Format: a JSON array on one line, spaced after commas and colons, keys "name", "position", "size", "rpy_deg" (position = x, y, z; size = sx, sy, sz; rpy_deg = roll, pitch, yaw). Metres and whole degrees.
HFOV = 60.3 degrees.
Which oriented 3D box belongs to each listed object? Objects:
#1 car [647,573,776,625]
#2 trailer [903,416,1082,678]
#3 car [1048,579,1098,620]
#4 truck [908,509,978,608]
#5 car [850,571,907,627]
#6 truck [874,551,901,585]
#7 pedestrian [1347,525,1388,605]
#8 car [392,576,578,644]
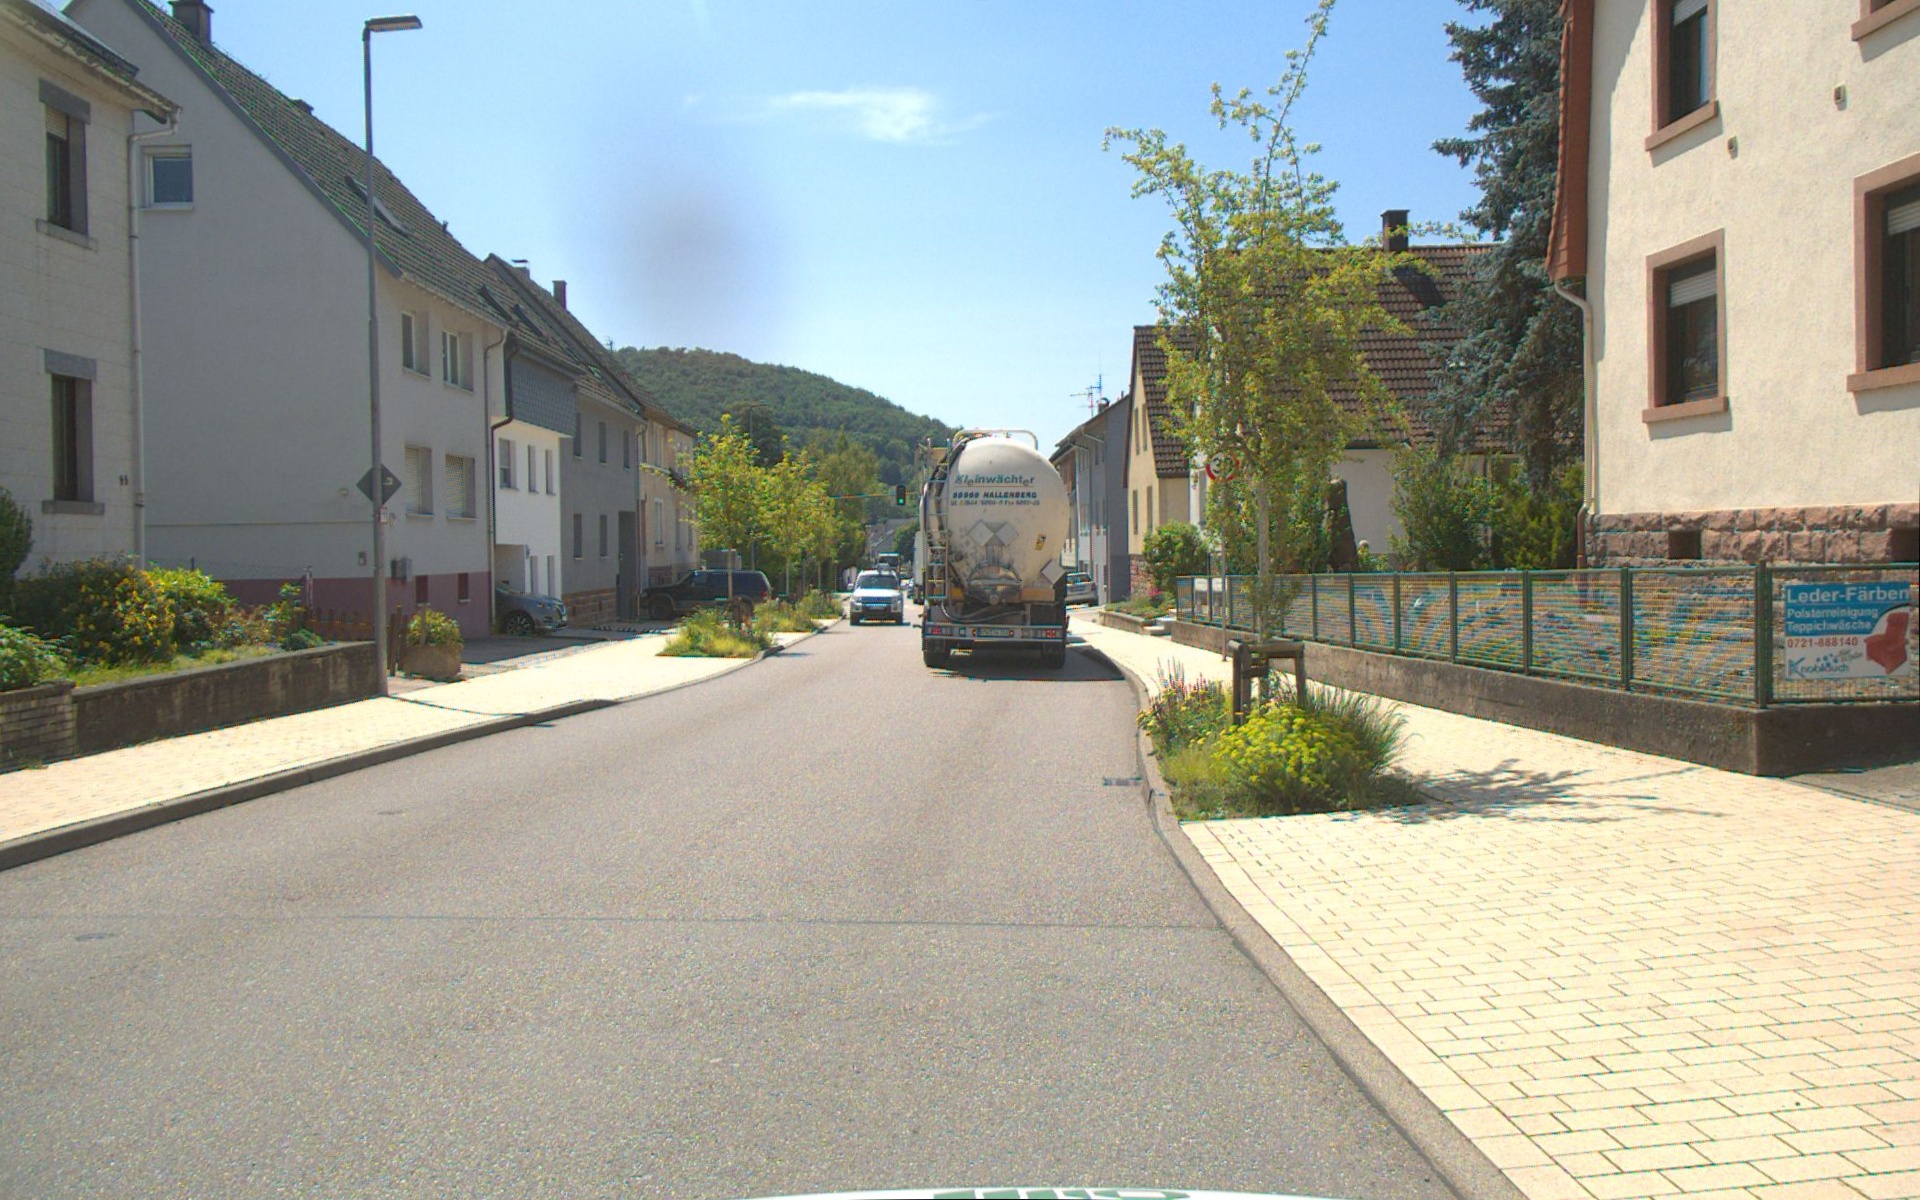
[{"name": "car", "position": [-8.698, -0.037, 58.195], "size": [4.306, 1.781, 1.877], "rpy_deg": [0, 0, -2]}, {"name": "trailer", "position": [0.598, -0.864, 31.236], "size": [2.738, 4.071, 10.325], "rpy_deg": [1, 0, 1]}, {"name": "car", "position": [4.685, -0.036, 69.042], "size": [1.754, 1.568, 4.519], "rpy_deg": [-2, 0, 0]}, {"name": "truck", "position": [-0.994, -2.005, 86.548], "size": [2.791, 4.760, 11.327], "rpy_deg": [1, -1, -5]}, {"name": "car", "position": [-2.829, -0.049, 58.189], "size": [1.851, 1.893, 4.577], "rpy_deg": [1, 0, -1]}, {"name": "truck", "position": [-7.760, -3.395, 177.081], "size": [2.673, 3.430, 8.632], "rpy_deg": [1, 1, -2]}, {"name": "pedestrian", "position": [8.594, -0.735, 34.926], "size": [0.592, 1.643, 0.552], "rpy_deg": [-5, 0, -1]}, {"name": "car", "position": [-11.277, 0.229, 39.443], "size": [3.906, 1.572, 1.832], "rpy_deg": [0, 1, -1]}]
